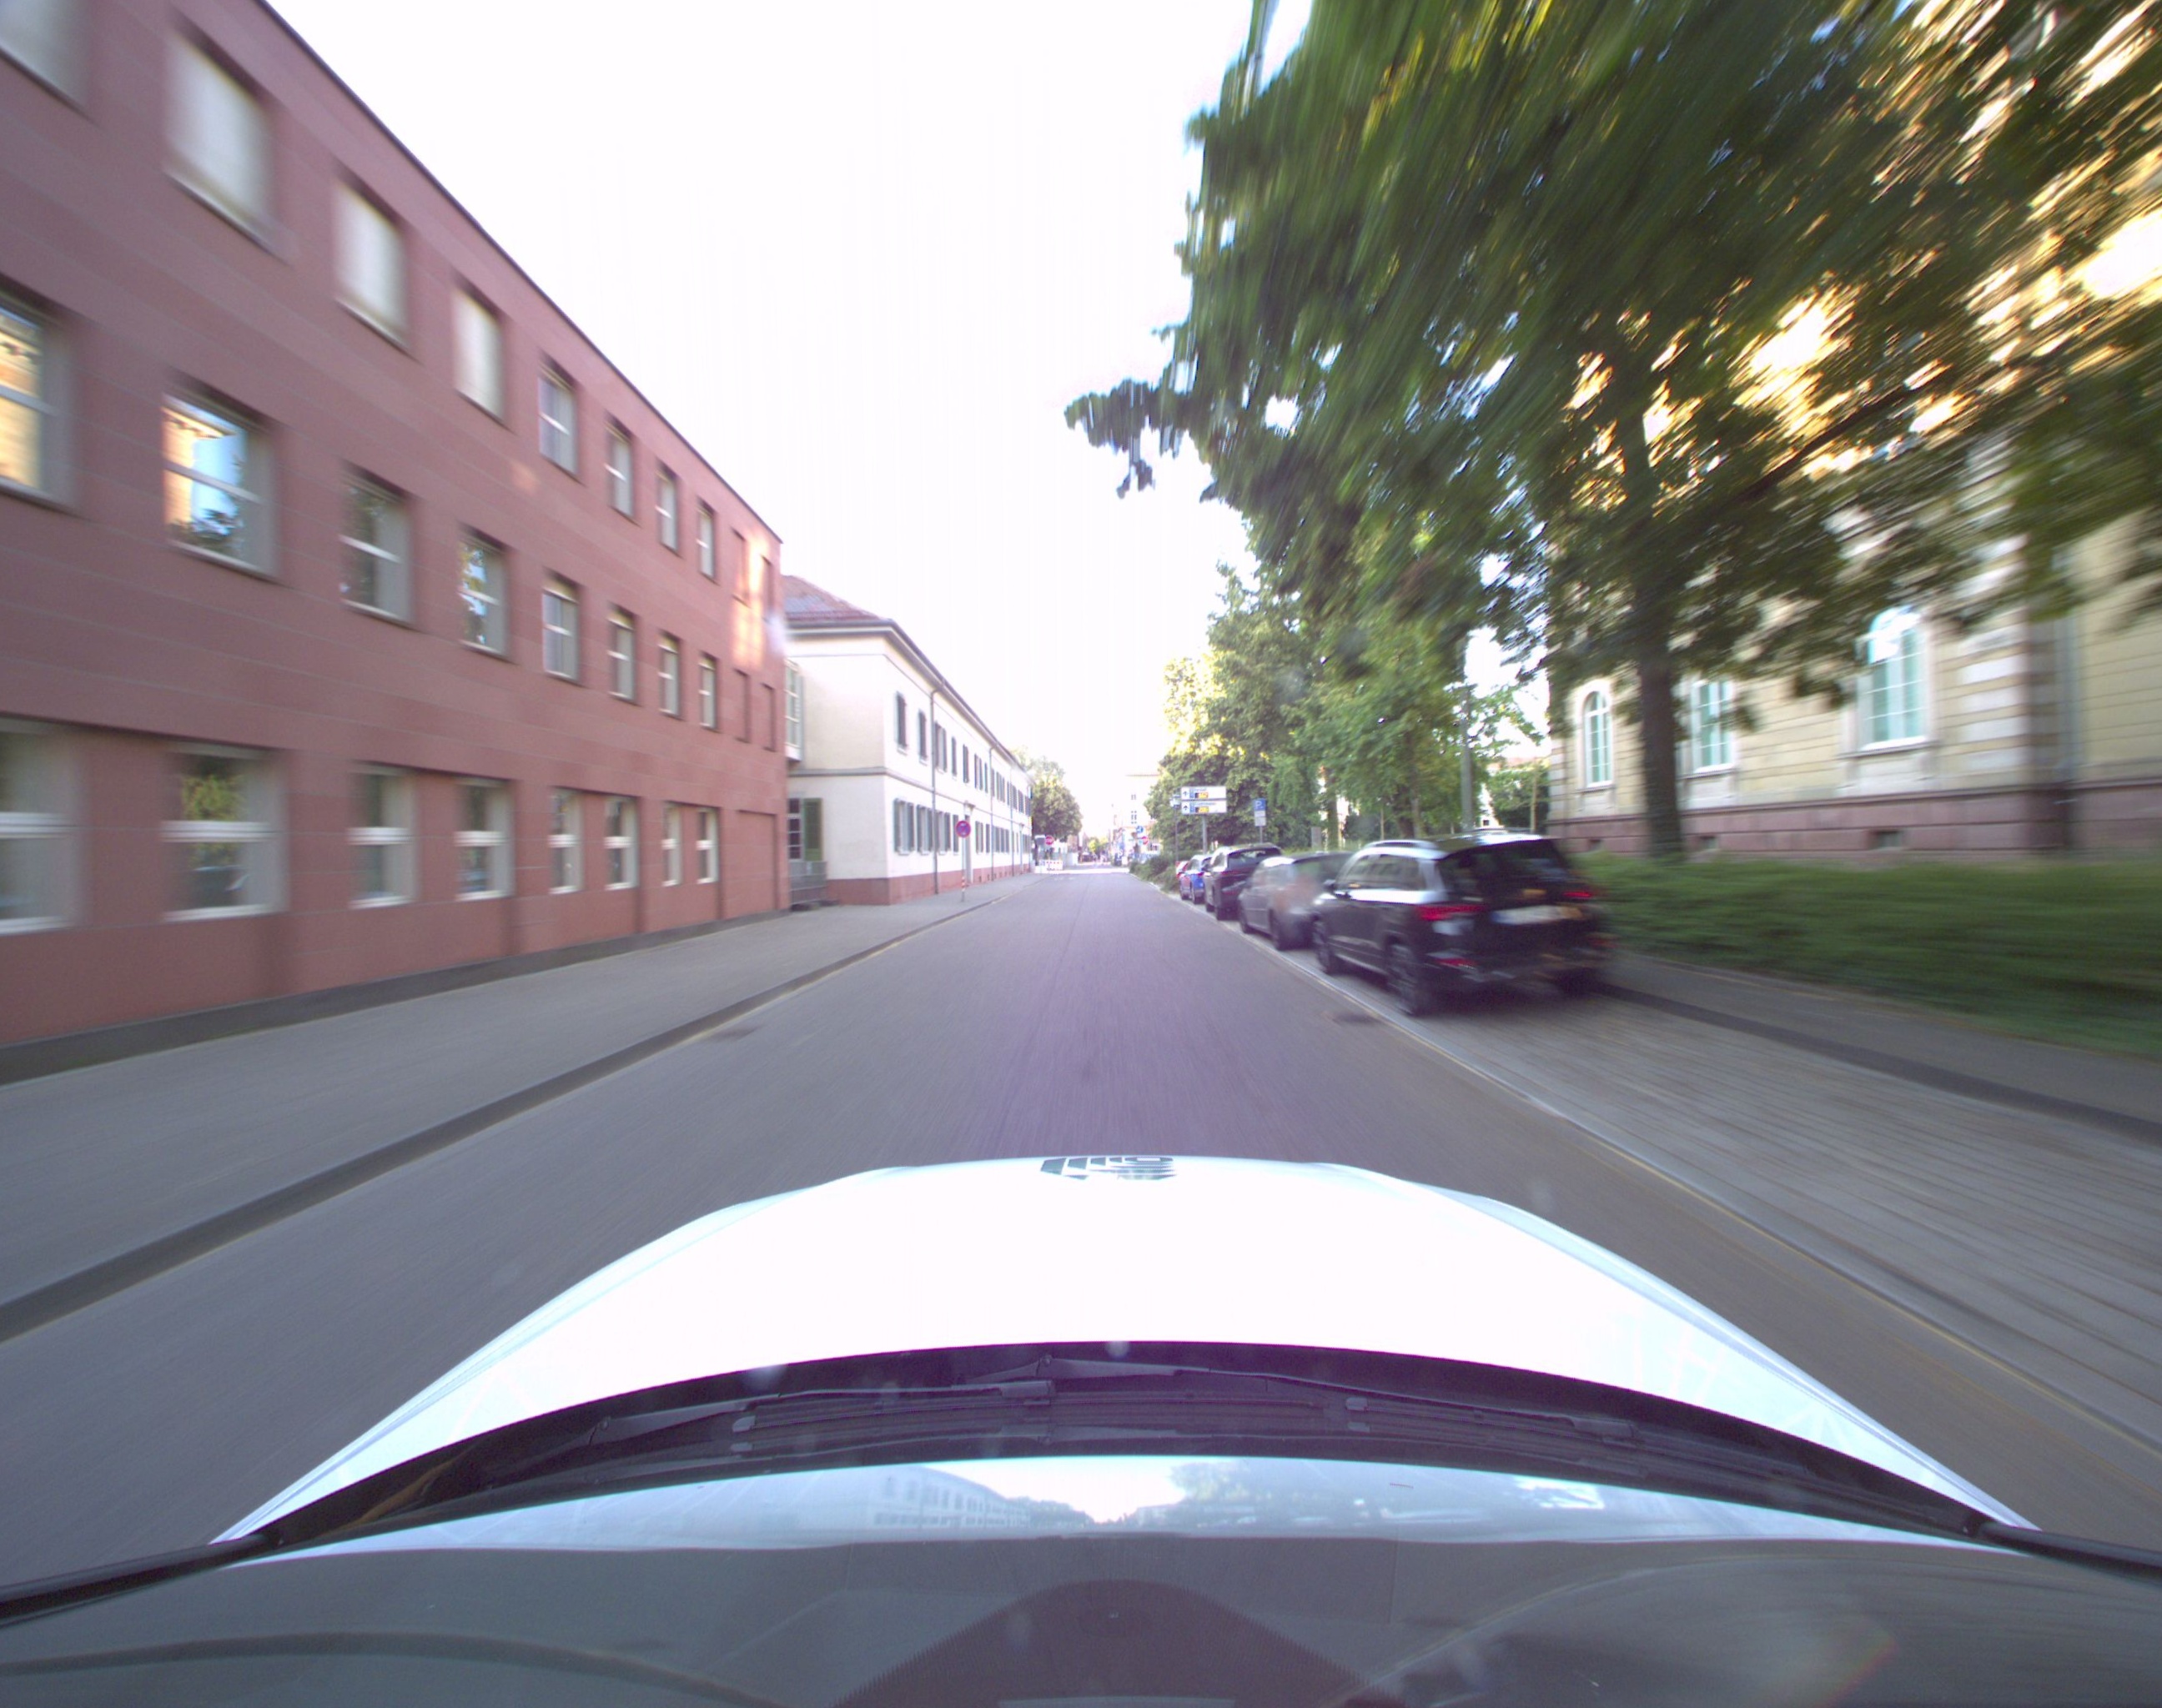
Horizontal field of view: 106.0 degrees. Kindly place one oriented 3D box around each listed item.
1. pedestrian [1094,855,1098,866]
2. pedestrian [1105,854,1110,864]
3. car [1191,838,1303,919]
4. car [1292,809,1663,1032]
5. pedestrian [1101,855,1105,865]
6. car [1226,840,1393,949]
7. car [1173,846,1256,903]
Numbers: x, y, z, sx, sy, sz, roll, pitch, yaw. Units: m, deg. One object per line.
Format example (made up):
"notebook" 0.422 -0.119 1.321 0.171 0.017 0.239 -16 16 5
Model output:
"pedestrian" 2.489 1.025 133.547 0.655 1.760 0.745 -2 0 1
"pedestrian" 4.358 0.867 133.560 0.655 1.617 0.745 -2 0 1
"car" 3.810 0.551 19.513 1.718 1.651 4.713 -2 -1 1
"car" 3.831 0.529 8.896 1.801 1.651 4.419 -6 0 1
"pedestrian" 3.618 0.922 133.531 0.655 1.617 0.745 -2 0 1
"car" 3.741 0.627 14.117 1.718 1.538 4.189 -2 -1 1
"car" 4.116 0.597 25.801 1.719 1.488 4.609 -5 0 0
